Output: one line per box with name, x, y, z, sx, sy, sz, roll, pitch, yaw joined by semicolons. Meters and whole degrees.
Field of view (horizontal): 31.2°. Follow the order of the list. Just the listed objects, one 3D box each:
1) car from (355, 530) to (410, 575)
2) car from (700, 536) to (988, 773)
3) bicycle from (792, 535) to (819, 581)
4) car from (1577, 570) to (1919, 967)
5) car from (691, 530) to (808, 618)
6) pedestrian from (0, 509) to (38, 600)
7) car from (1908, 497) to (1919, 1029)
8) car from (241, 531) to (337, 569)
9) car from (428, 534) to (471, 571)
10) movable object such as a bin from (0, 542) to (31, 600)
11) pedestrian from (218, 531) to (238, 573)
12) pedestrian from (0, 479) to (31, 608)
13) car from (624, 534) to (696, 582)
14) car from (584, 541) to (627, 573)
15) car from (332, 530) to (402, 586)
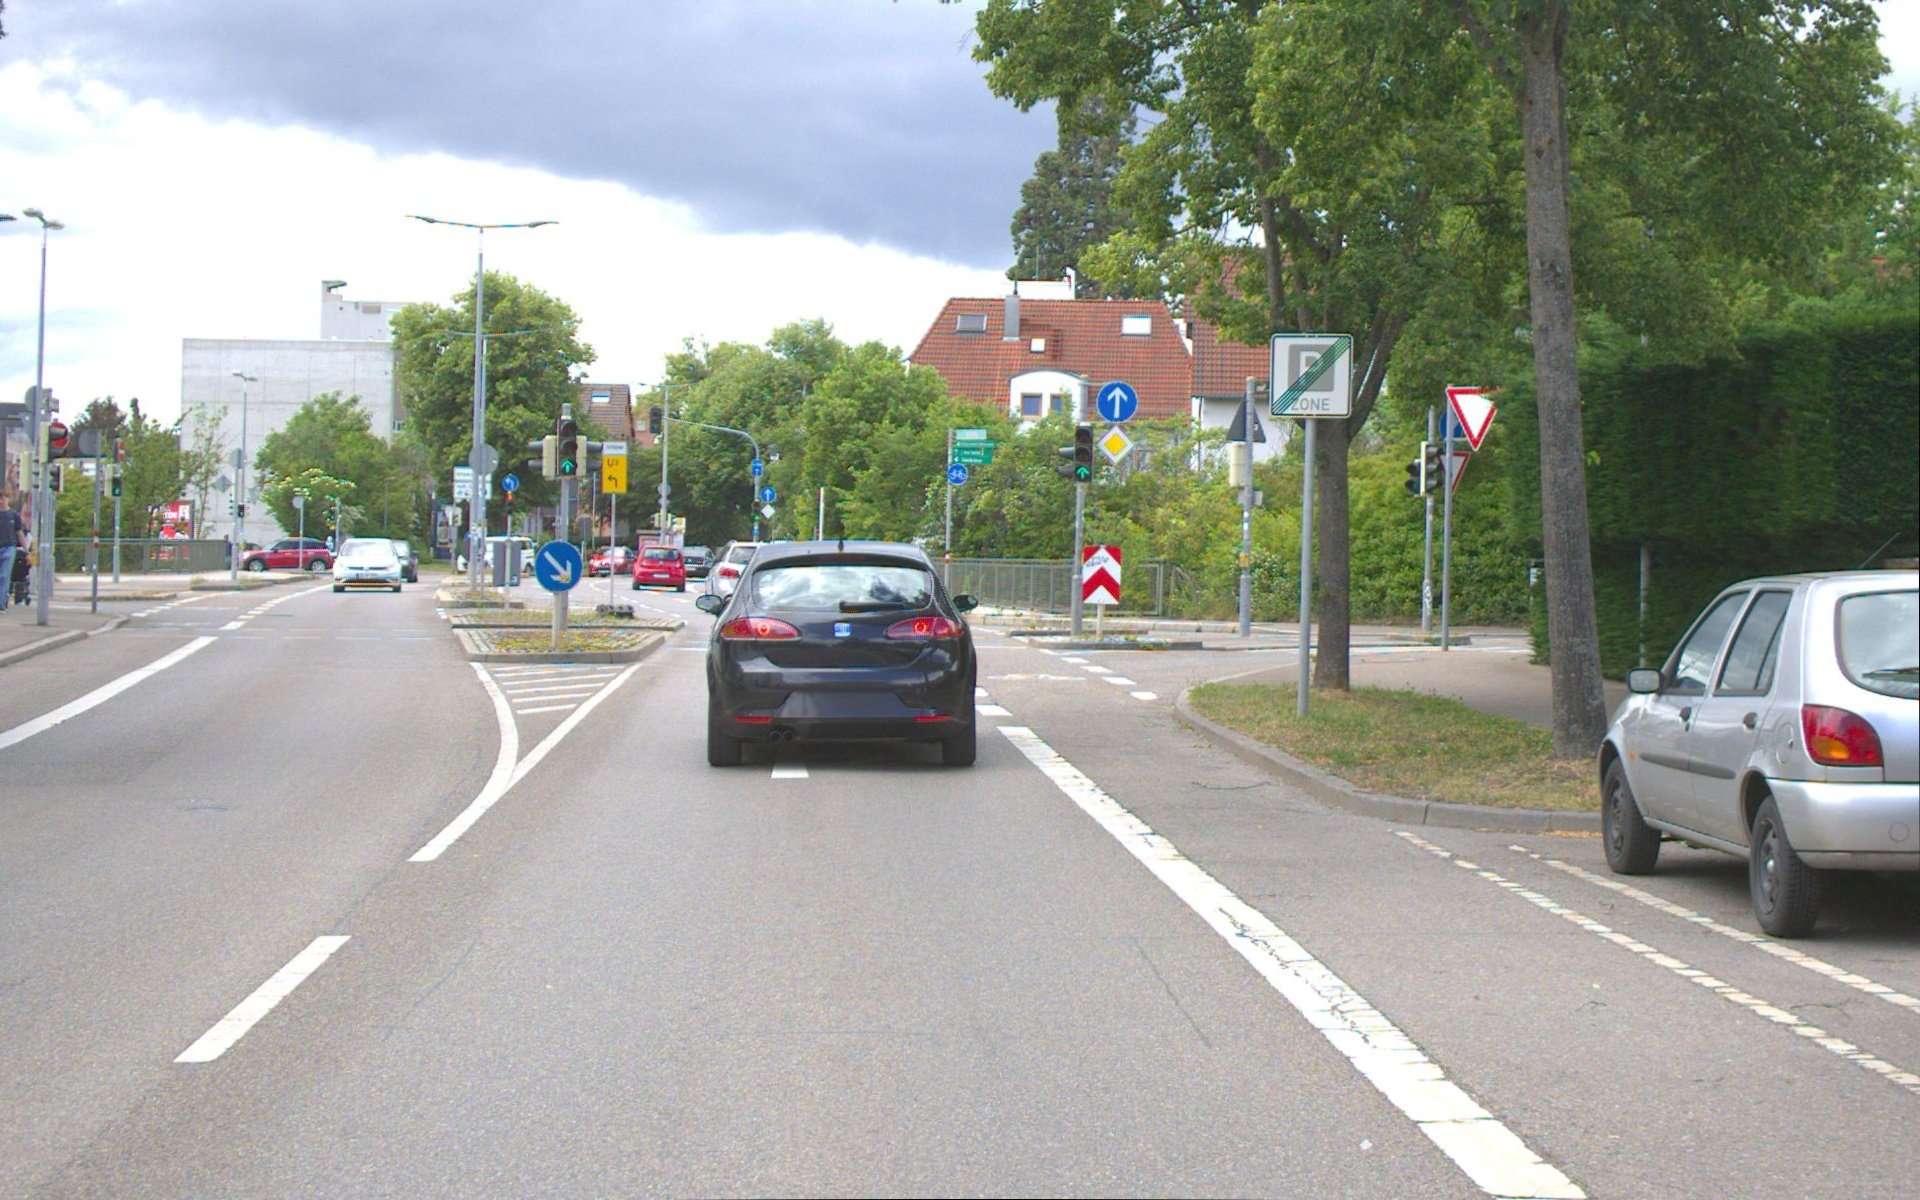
car;-19.270;-1.596;114.685;1.720;1.386;3.919;3;0;-9
car;-0.846;0.304;23.046;1.759;1.444;3.715;1;1;-4
bicycle;-5.158;-1.422;114.833;0.891;1.505;2.783;1;1;-2
car;3.675;0.583;13.970;1.557;1.346;3.541;0;1;-2
car;-4.280;-0.550;69.392;1.818;1.693;4.254;1;1;-11
pedestrian;-16.645;-0.808;60.661;0.531;1.537;0.732;6;0;-10
car;3.881;0.551;8.396;1.765;1.630;4.548;1;1;-1
car;-29.423;-2.186;150.658;3.986;1.547;1.750;1;1;-15
car;-20.574;-1.917;138.486;1.642;1.404;3.820;2;0;-9
movable object such as a bin;-16.517;-0.514;59.861;0.497;0.957;0.987;6;0;-10
pedestrian;-28.518;-1.878;133.977;0.656;1.628;1.071;3;0;-14
pedestrian;-14.729;-0.874;52.788;0.648;1.941;0.872;4;0;-7
car;-9.626;-1.353;110.182;1.941;1.476;4.254;1;1;-10
car;-16.673;-2.019;161.578;1.720;1.443;4.068;2;0;-9
car;-15.850;-1.127;91.937;1.798;1.439;3.950;1;1;-9
